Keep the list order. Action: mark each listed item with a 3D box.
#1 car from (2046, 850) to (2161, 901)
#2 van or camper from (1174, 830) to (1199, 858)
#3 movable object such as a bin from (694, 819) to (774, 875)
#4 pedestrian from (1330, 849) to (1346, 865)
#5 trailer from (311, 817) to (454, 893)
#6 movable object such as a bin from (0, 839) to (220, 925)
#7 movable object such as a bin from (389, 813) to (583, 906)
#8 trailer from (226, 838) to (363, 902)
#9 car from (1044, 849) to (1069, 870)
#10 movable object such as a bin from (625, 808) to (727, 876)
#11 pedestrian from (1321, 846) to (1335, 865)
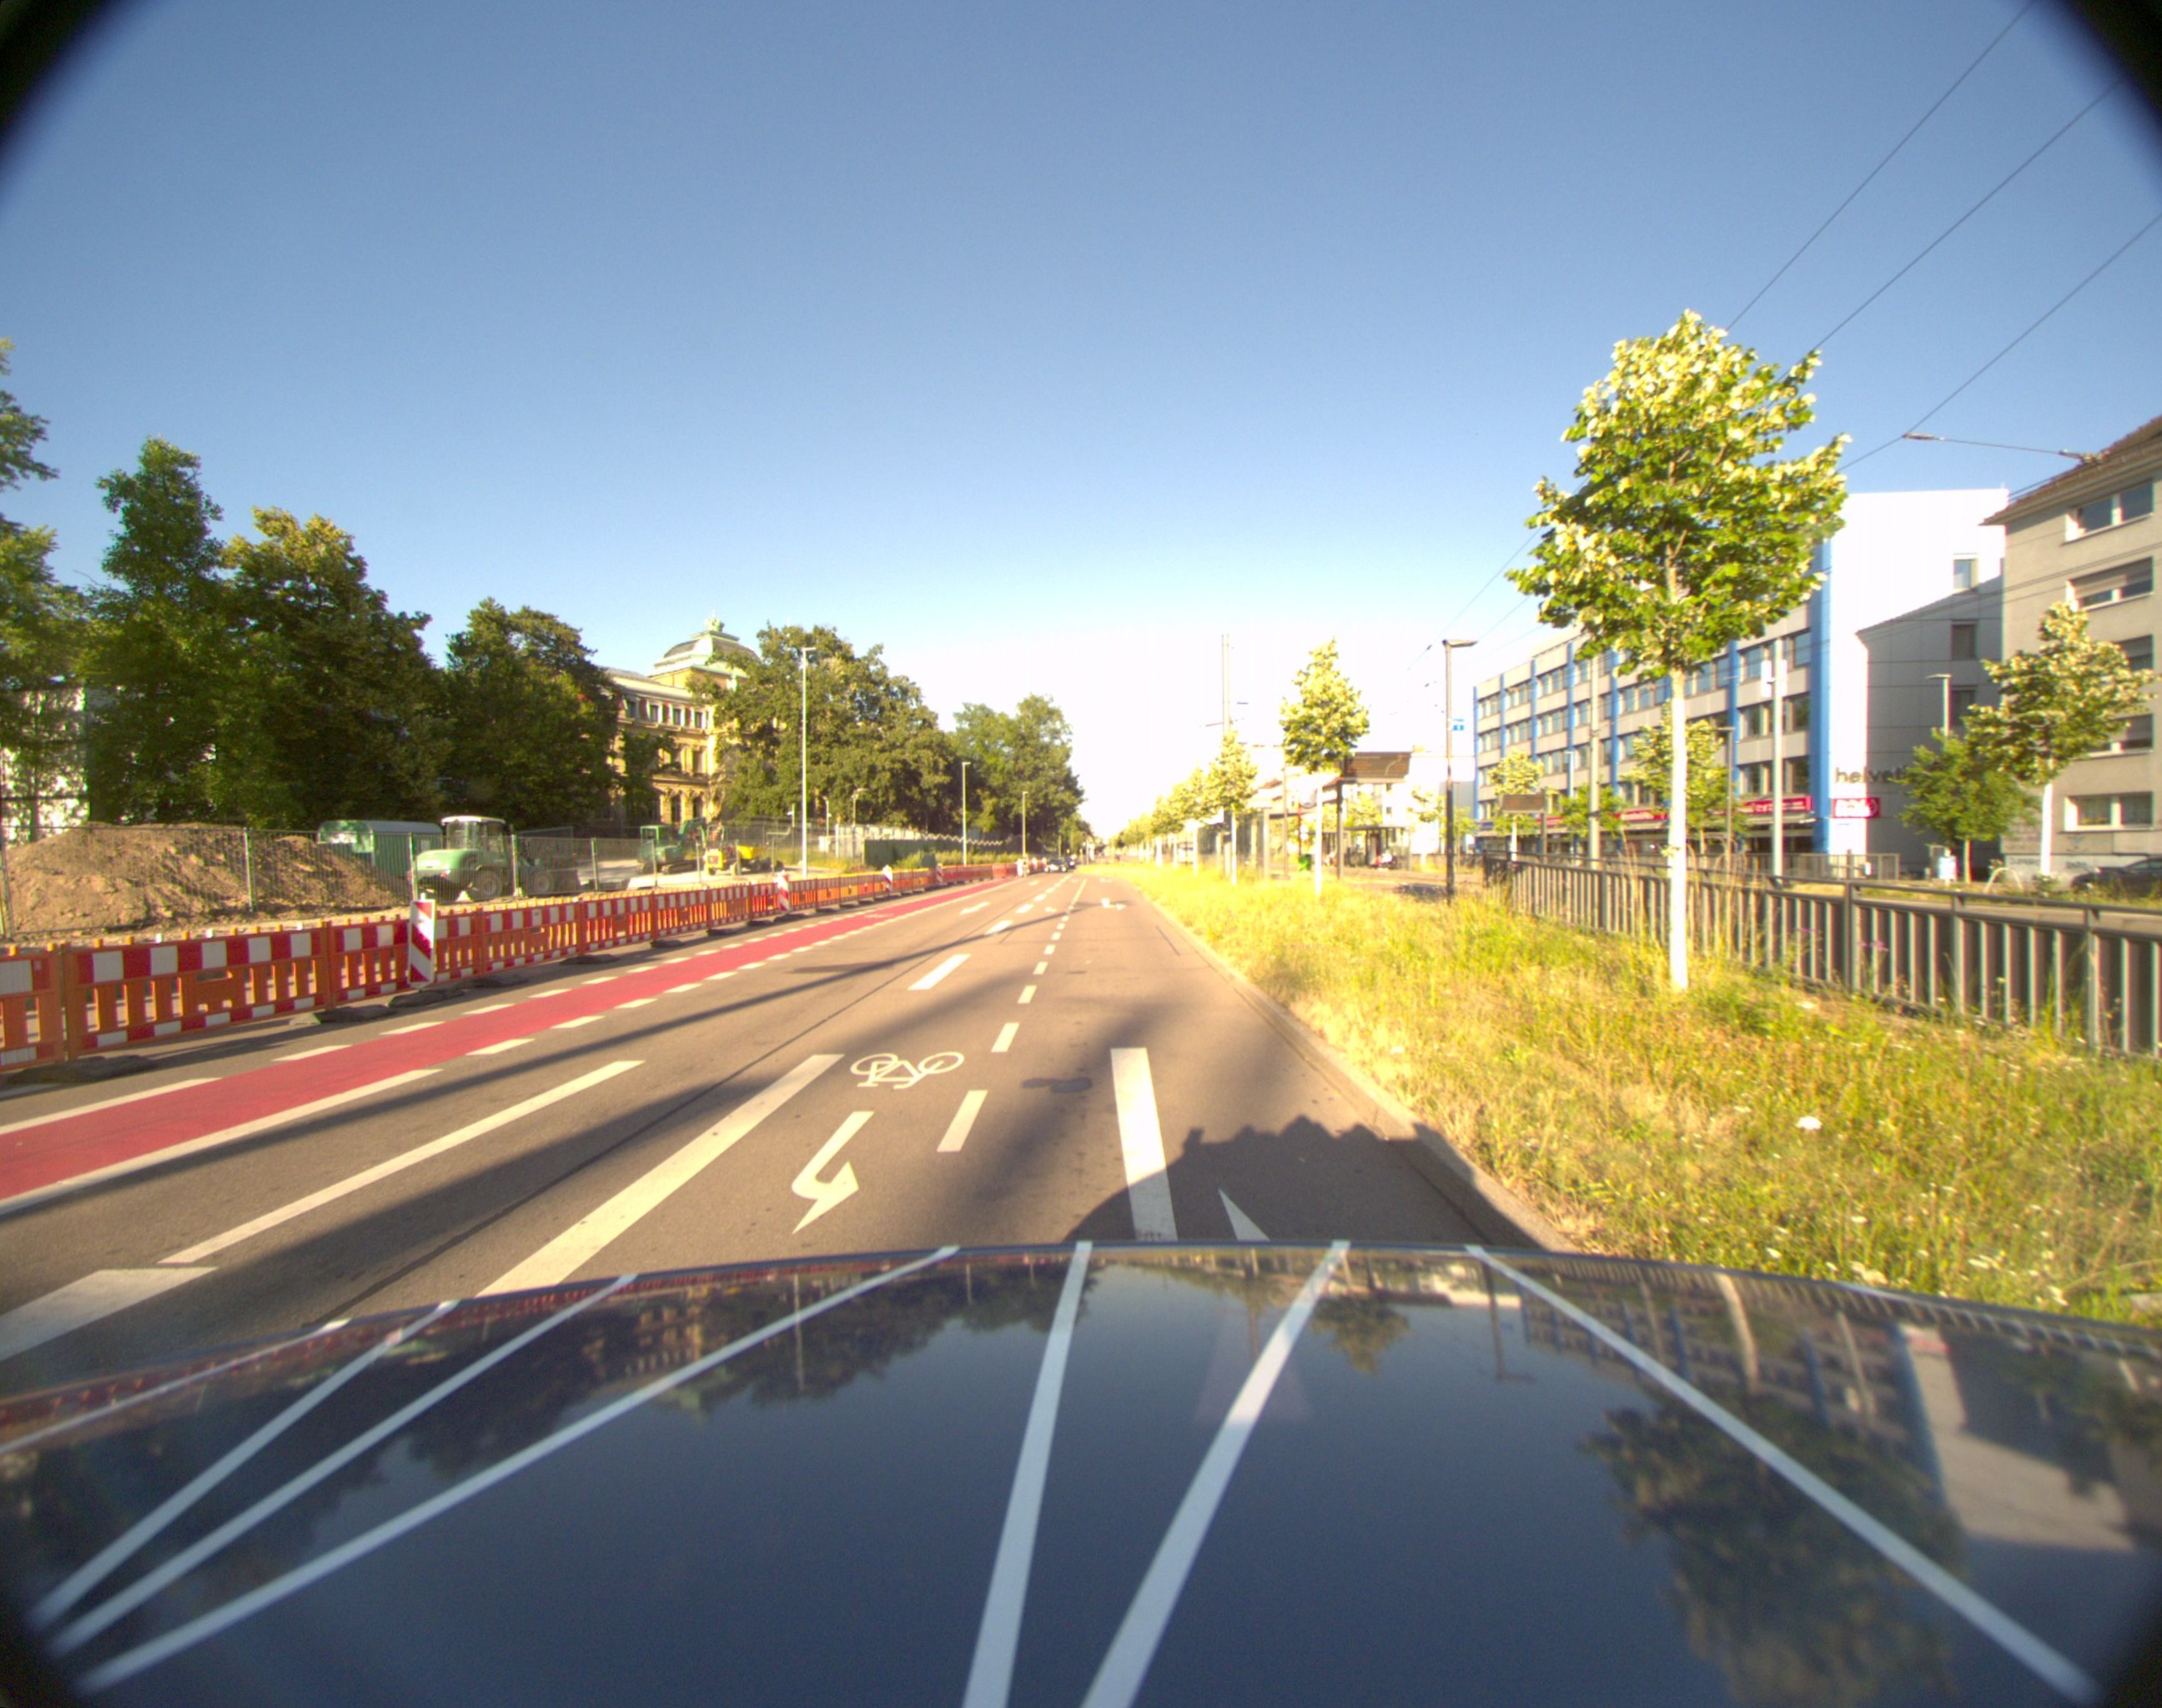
[{"bbox_3d":[33.304,0.630,23.225,1.998,1.499,4.431,0,0,1],"label":"car"},{"bbox_3d":[12.705,-1.198,92.279,2.510,3.149,7.477,-1,0,4],"label":"van or camper"},{"bbox_3d":[-18.699,-0.382,41.161,1.997,2.887,4.002,-1,1,8],"label":"movable object such as a bin"},{"bbox_3d":[18.778,0.214,55.523,0.936,1.190,0.764,0,1,1],"label":"pedestrian"},{"bbox_3d":[-31.495,-0.055,34.491,2.616,3.075,3.981,0,6,-2],"label":"trailer"},{"bbox_3d":[-30.091,0.781,23.033,5.044,2.311,2.221,0,6,-2],"label":"movable object such as a bin"},{"bbox_3d":[-19.000,0.143,24.661,2.281,2.688,4.942,-1,0,1],"label":"movable object such as a bin"},{"bbox_3d":[-31.628,0.595,30.671,2.954,2.311,2.221,0,6,-2],"label":"trailer"},{"bbox_3d":[-2.201,0.434,68.180,2.080,1.827,3.999,-1,1,0],"label":"car"},{"bbox_3d":[-22.456,-0.649,42.455,2.280,3.537,5.501,-1,0,6],"label":"movable object such as a bin"},{"bbox_3d":[18.870,0.122,58.092,0.840,1.402,0.804,0,1,1],"label":"pedestrian"}]
